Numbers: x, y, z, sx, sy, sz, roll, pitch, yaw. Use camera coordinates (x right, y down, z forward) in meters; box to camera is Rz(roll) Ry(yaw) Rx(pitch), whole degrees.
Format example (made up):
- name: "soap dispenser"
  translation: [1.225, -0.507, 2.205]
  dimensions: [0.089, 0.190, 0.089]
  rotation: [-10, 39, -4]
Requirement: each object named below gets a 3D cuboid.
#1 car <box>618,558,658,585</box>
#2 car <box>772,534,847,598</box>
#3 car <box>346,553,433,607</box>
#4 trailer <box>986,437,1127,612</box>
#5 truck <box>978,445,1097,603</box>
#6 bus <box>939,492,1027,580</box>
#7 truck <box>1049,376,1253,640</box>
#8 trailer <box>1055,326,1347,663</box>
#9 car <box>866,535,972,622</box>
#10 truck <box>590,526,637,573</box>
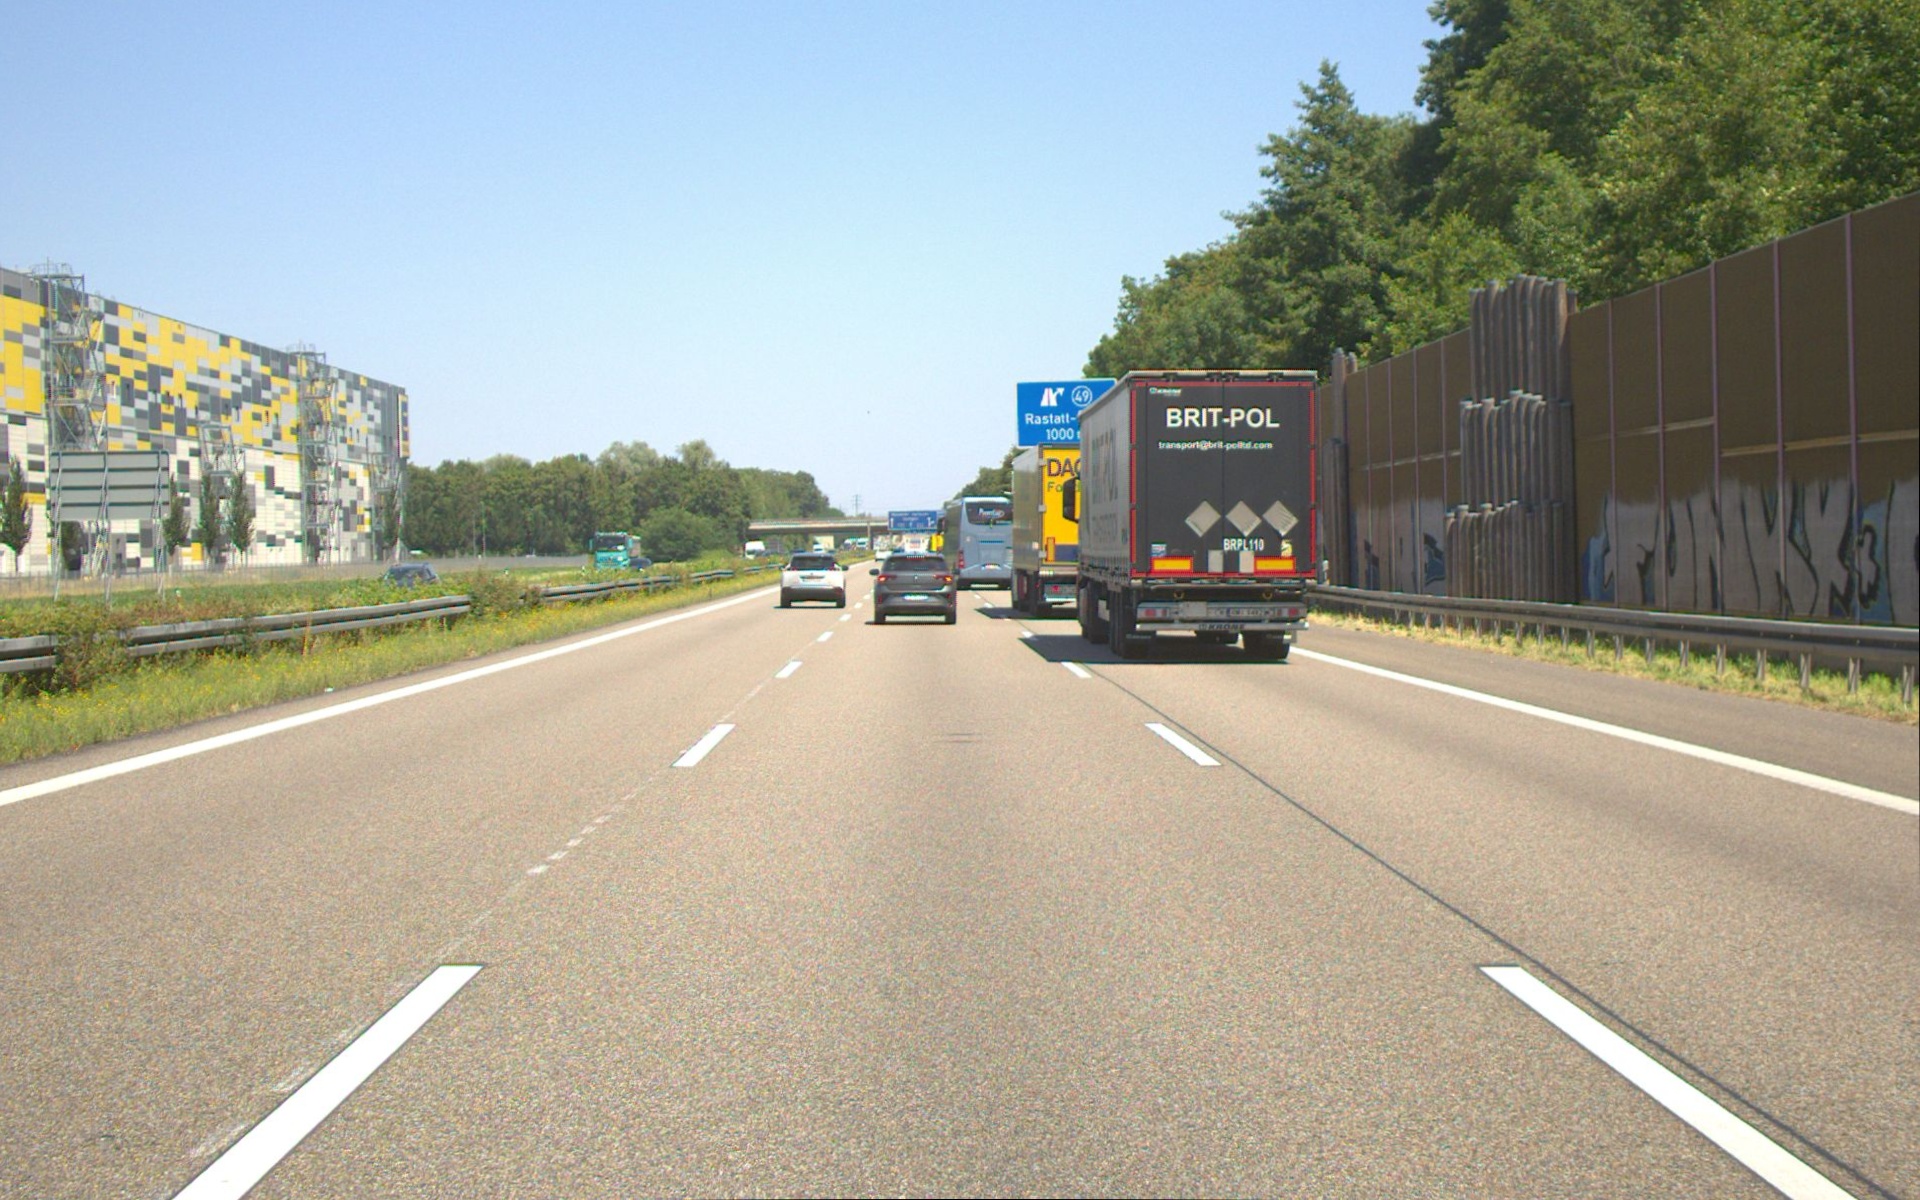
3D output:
- name: "car"
  translation: [-20.300, -1.817, 216.782]
  dimensions: [1.993, 1.634, 5.663]
  rotation: [-2, 1, 0]
- name: "car"
  translation: [-4.164, -0.955, 95.676]
  dimensions: [1.993, 1.722, 4.131]
  rotation: [0, 1, -2]
- name: "car"
  translation: [-18.996, -0.642, 114.693]
  dimensions: [1.993, 1.674, 5.552]
  rotation: [-2, 0, 0]
- name: "trailer"
  translation: [2.209, -1.805, 83.276]
  dimensions: [2.834, 3.940, 11.685]
  rotation: [0, 1, -1]
- name: "truck"
  translation: [2.012, -1.997, 91.281]
  dimensions: [2.813, 3.993, 6.645]
  rotation: [-1, 1, -1]
- name: "bus"
  translation: [0.856, -2.553, 136.987]
  dimensions: [3.062, 3.315, 8.275]
  rotation: [-2, 1, -2]
- name: "truck"
  translation: [3.280, -1.573, 60.734]
  dimensions: [3.087, 4.425, 6.053]
  rotation: [0, 0, -2]
- name: "trailer"
  translation: [3.428, -1.500, 53.481]
  dimensions: [3.106, 4.491, 14.897]
  rotation: [0, 1, -1]
- name: "car"
  translation: [-0.912, -0.495, 75.259]
  dimensions: [2.216, 1.784, 5.394]
  rotation: [-1, 1, -1]
- name: "truck"
  translation: [-24.264, -3.546, 241.119]
  dimensions: [2.697, 3.239, 5.838]
  rotation: [-1, 1, -1]
